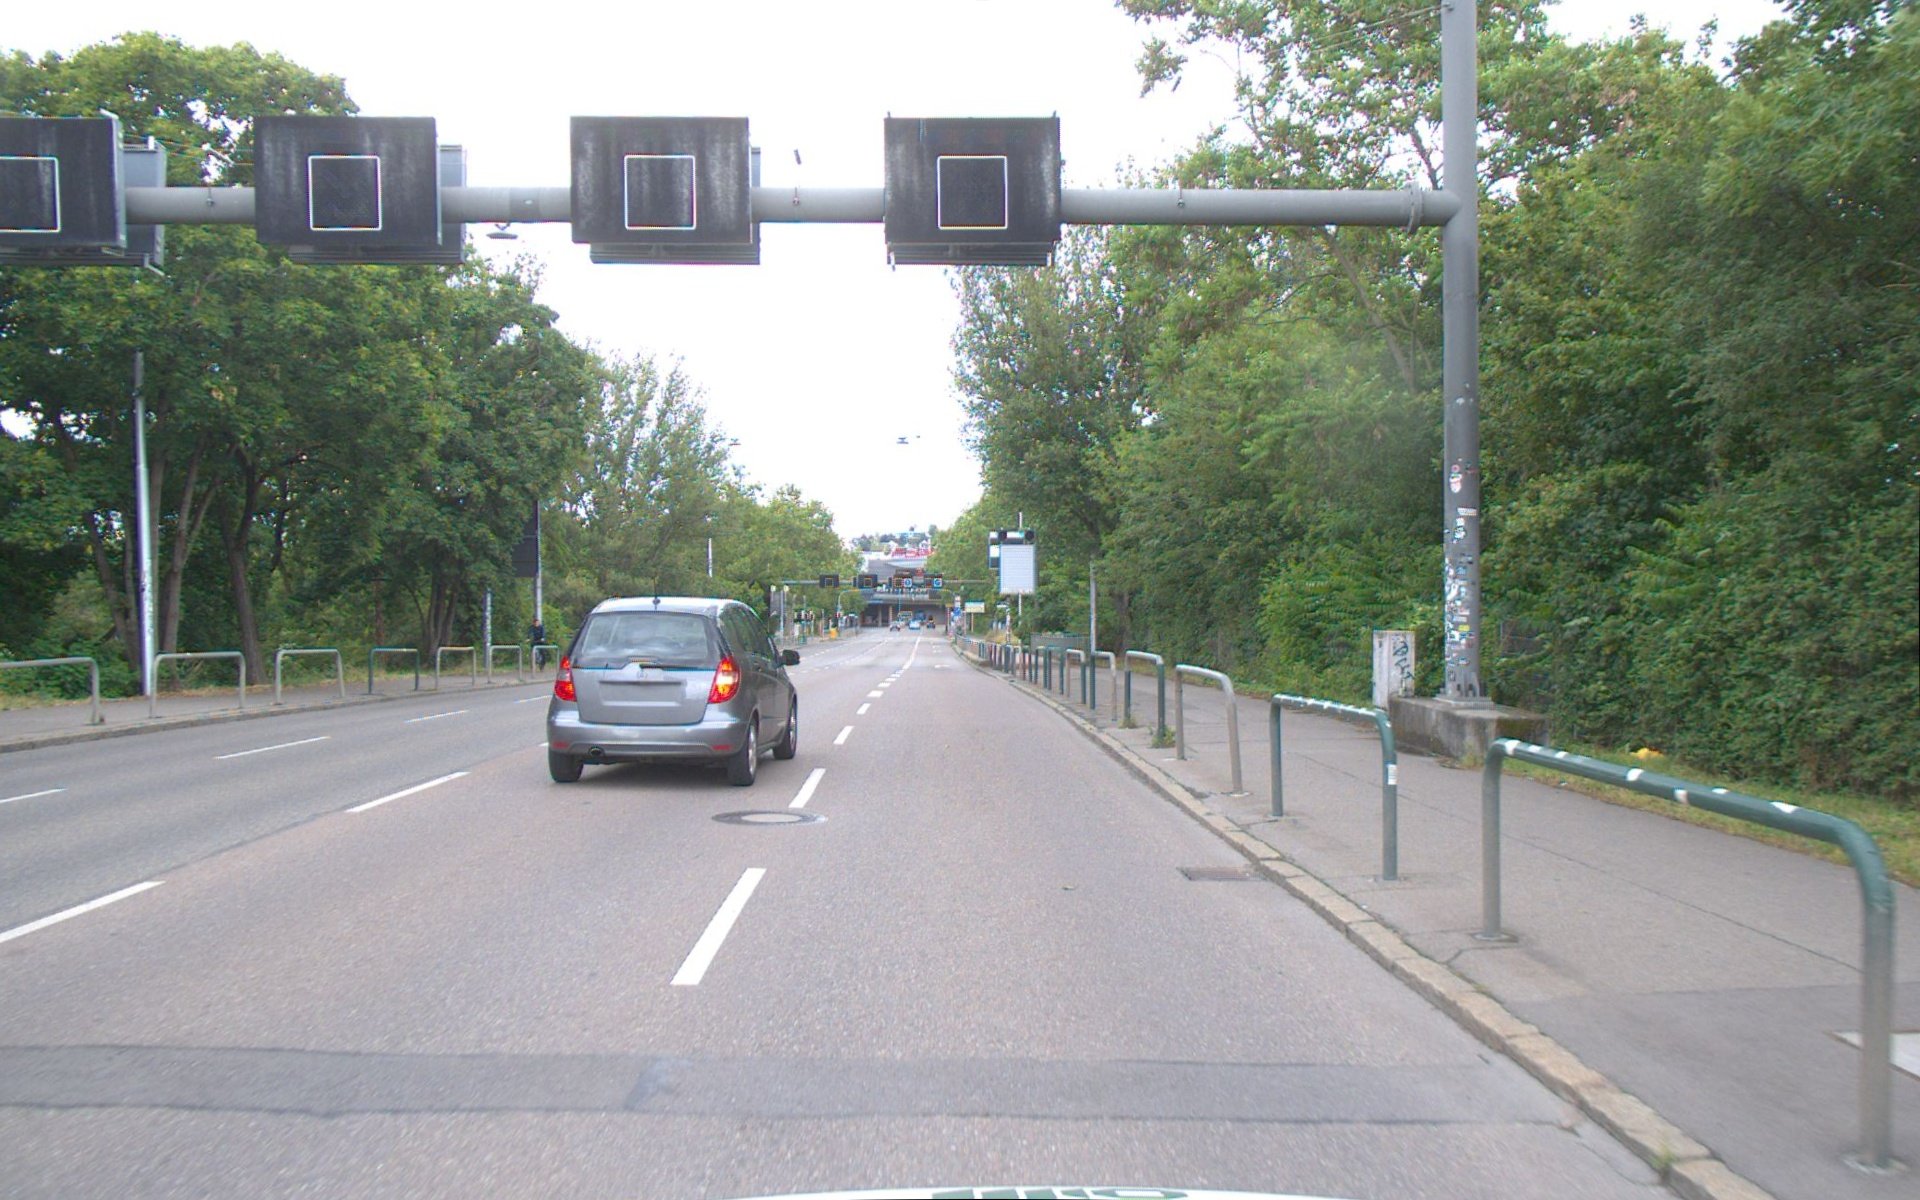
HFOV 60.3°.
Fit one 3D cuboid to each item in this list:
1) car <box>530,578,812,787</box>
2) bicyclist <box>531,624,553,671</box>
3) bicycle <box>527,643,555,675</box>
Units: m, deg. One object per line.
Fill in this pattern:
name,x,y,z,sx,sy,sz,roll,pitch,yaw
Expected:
car,-2.512,0.726,15.374,1.788,1.645,4.034,1,-2,1
bicyclist,-13.874,1.581,54.916,0.504,1.543,0.983,-1,-1,-2
bicycle,-13.898,1.960,54.889,0.475,1.019,2.001,-1,-1,-2
